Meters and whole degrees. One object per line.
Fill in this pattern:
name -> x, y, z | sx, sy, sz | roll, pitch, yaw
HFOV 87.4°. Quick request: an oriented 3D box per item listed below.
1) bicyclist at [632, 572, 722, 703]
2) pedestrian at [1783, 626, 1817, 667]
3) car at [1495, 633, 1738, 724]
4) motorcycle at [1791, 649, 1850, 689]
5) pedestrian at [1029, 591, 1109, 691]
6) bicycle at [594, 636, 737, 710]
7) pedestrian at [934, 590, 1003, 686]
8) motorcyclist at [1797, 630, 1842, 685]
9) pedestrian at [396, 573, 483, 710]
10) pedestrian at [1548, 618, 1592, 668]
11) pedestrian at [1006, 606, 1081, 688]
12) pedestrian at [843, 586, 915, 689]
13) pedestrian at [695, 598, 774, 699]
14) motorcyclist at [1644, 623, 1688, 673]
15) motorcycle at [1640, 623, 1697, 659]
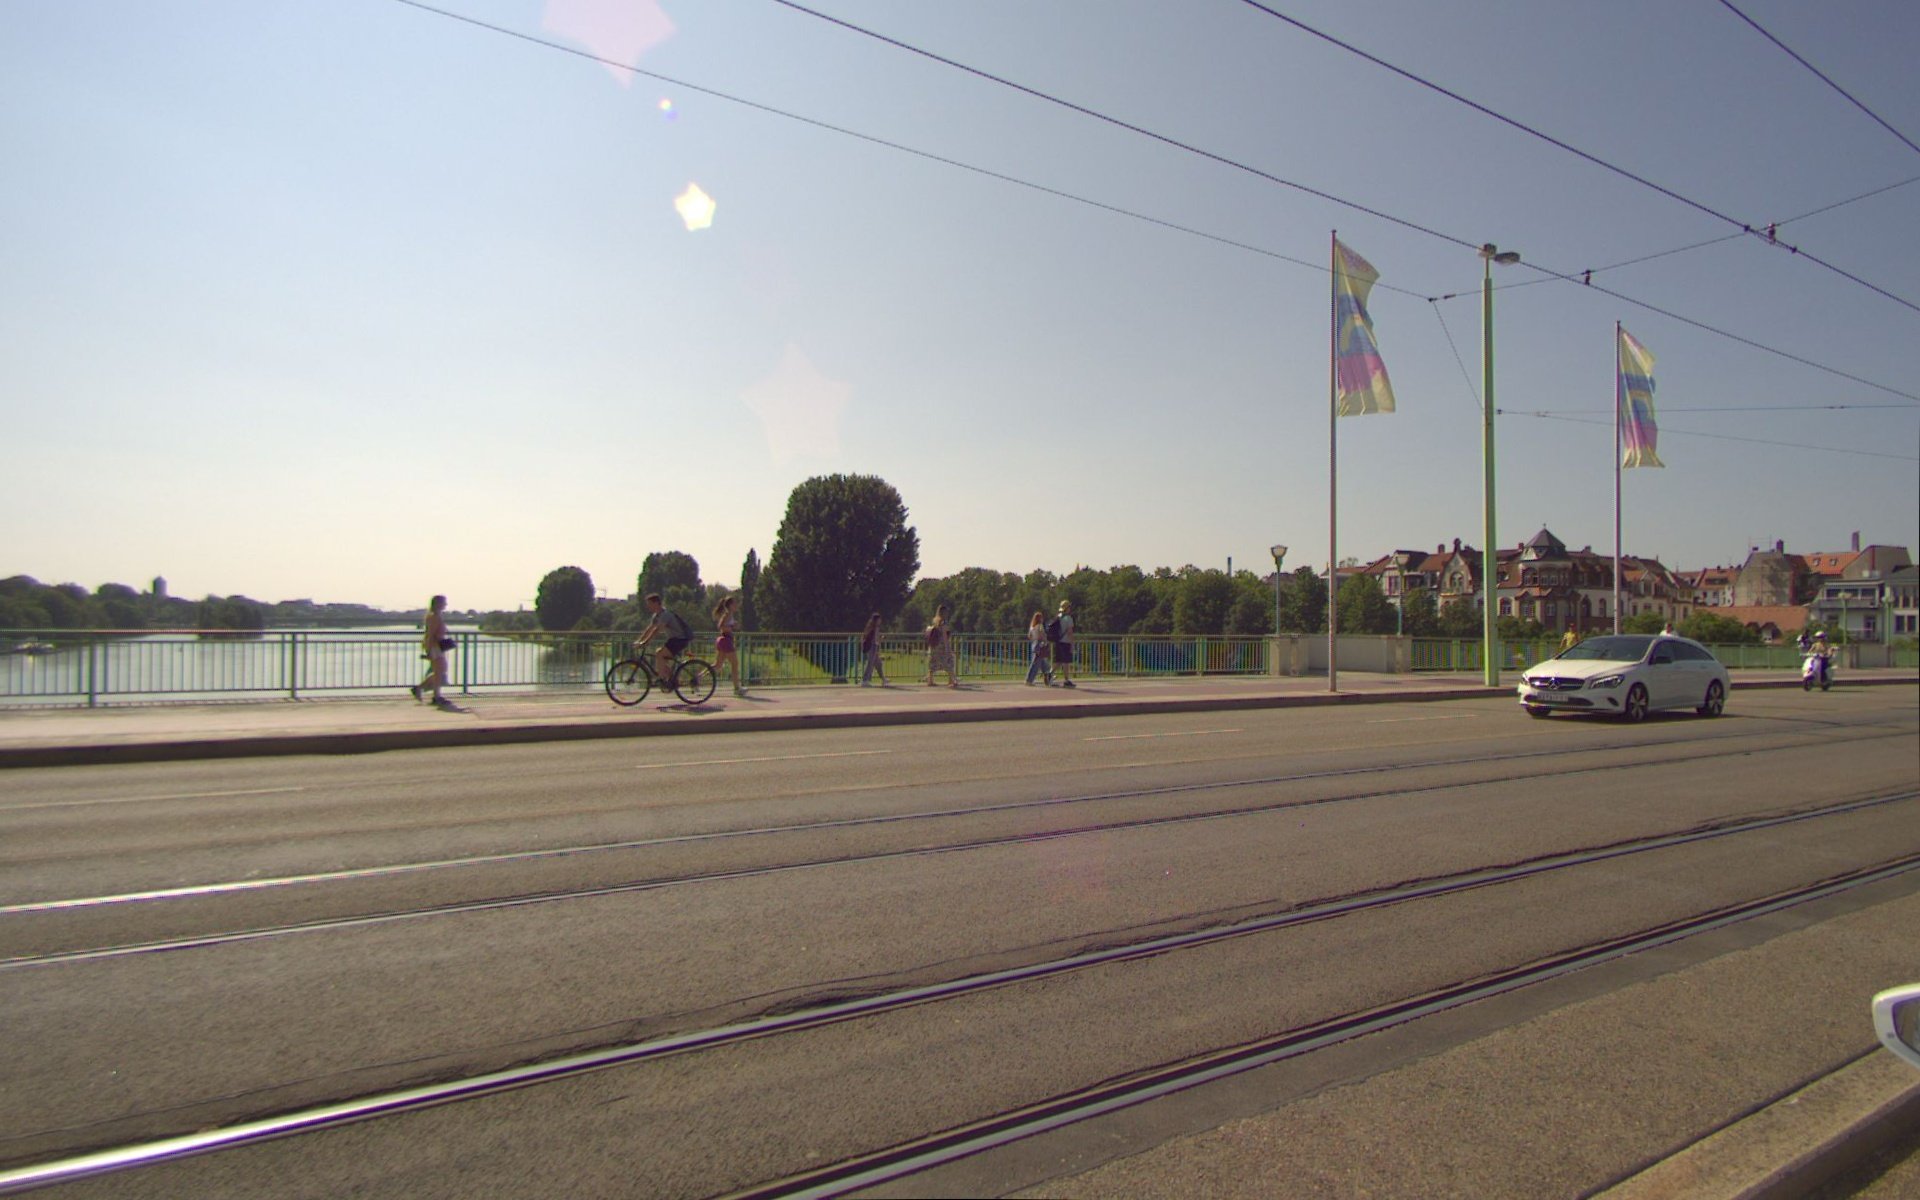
bicyclist -> -4.526, 0.585, 16.028 | 1.117, 1.987, 1.091 | 0, -1, -33
pedestrian -> 36.371, 2.011, 43.475 | 1.081, 1.745, 0.826 | 1, -1, -30
car -> 11.788, 1.319, 17.976 | 4.498, 1.428, 1.983 | 1, -2, -33
motorcycle -> 25.706, 2.037, 29.995 | 2.154, 1.125, 0.697 | 1, -1, -31
pedestrian -> 2.287, 0.844, 21.160 | 1.281, 2.040, 1.091 | 0, -1, -33
bicycle -> -4.660, 1.125, 15.970 | 2.090, 1.111, 0.585 | 1, -1, -33
pedestrian -> 0.173, 0.821, 22.085 | 1.117, 2.040, 1.091 | 0, -1, -33
motorcyclist -> 25.706, 1.709, 30.041 | 0.822, 1.595, 0.823 | 1, -1, -31
pedestrian -> -8.095, 0.626, 15.615 | 1.091, 2.040, 0.962 | 0, -1, -36
pedestrian -> 20.780, 1.454, 34.233 | 1.016, 1.680, 0.895 | 1, -1, -28
pedestrian -> 1.830, 1.007, 22.077 | 1.281, 1.752, 1.091 | 0, -1, -33
pedestrian -> -1.668, 0.750, 20.604 | 1.117, 2.040, 1.091 | 0, -1, -33
pedestrian -> -4.038, 0.855, 17.996 | 1.163, 1.745, 0.750 | 1, -1, -33
motorcyclist -> 22.598, 1.529, 32.164 | 1.057, 1.569, 0.796 | 1, -1, -31
motorcycle -> 22.658, 1.297, 32.113 | 2.154, 1.125, 0.697 | 1, -1, -31
